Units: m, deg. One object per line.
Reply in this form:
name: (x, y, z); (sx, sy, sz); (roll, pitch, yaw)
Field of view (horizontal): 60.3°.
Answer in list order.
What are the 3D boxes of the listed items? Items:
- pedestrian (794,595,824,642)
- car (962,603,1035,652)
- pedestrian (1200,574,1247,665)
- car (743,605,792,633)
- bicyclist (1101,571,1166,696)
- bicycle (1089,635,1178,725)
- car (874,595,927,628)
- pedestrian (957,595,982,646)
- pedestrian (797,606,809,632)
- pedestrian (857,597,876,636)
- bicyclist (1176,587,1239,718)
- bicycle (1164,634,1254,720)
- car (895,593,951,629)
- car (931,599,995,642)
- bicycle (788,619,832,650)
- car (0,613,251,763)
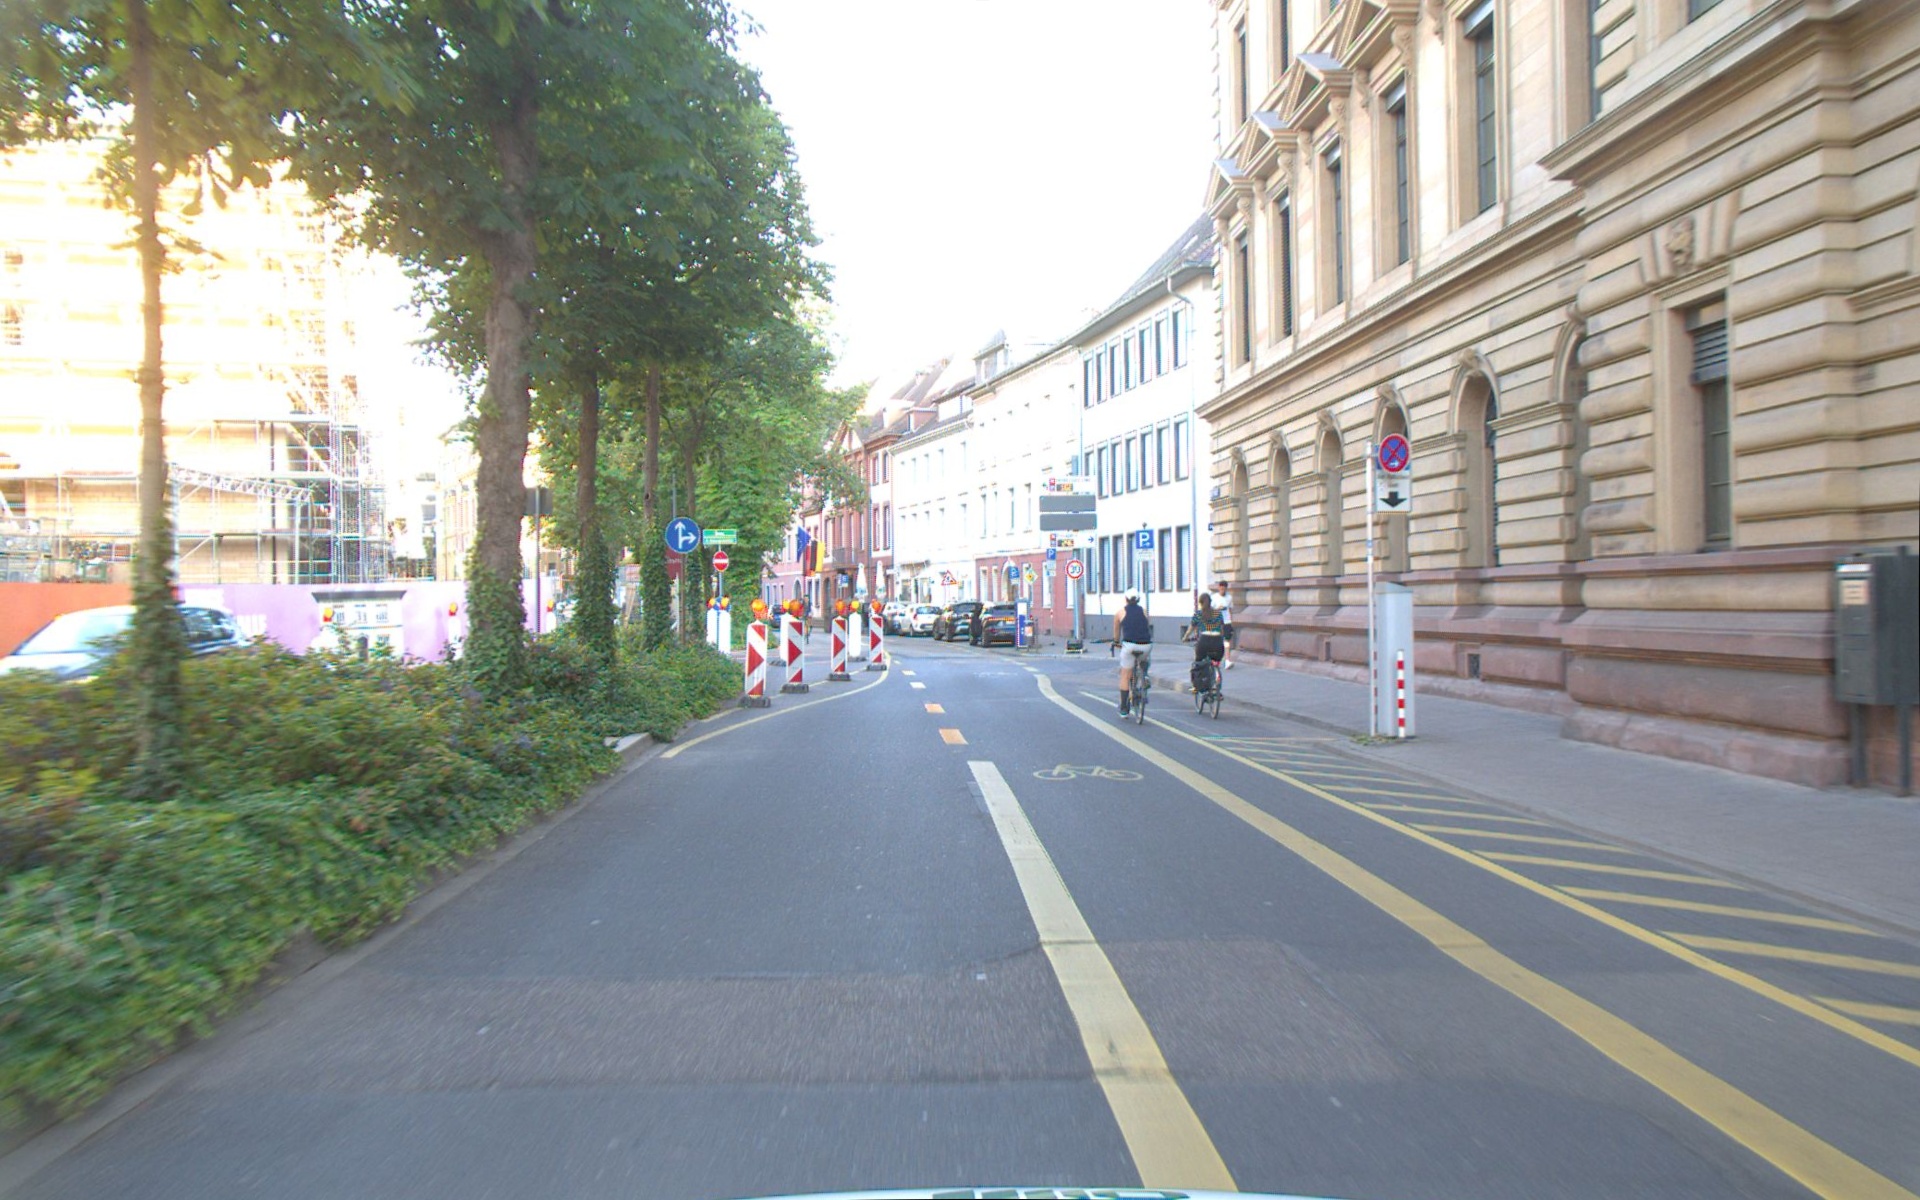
pedestrian: (-5.432, 0.665, 59.536); (0.720, 1.703, 0.895); (-1, 0, 20)
car: (1.378, 0.974, 60.746); (1.781, 1.712, 3.906); (0, 0, -13)
pedestrian: (5.325, 0.384, 33.452); (0.800, 1.796, 1.038); (0, 0, 1)
car: (-11.438, 1.129, 97.986); (1.789, 1.587, 3.835); (0, 0, -25)
bicyclist: (2.275, 0.436, 21.686); (0.656, 1.593, 0.697); (1, -1, -10)
bicycle: (2.253, 1.025, 21.706); (0.657, 1.089, 1.896); (1, 0, -10)
car: (-2.951, 0.548, 81.065); (1.782, 1.587, 3.850); (0, 0, -15)
pedestrian: (0.364, 0.757, 61.282); (0.882, 1.898, 0.932); (0, 0, -2)
pedestrian: (-10.943, 1.297, 115.091); (0.738, 1.793, 0.583); (0, 0, -17)
pedestrian: (-4.562, 0.788, 80.816); (0.813, 1.877, 0.958); (0, 0, 1)
bicyclist: (3.446, 0.718, 23.093); (0.637, 1.791, 0.863); (1, 0, -7)
bicycle: (3.450, 1.052, 23.134); (0.640, 1.089, 2.254); (1, 0, -7)
car: (-1.741, 0.514, 76.577); (1.782, 1.587, 3.850); (0, 0, -15)
car: (0.103, 0.828, 68.717); (1.781, 1.713, 3.986); (0, 0, -13)
bicycle: (-5.398, 1.239, 59.621); (0.745, 1.055, 2.121); (-1, 0, 20)
car: (-10.606, 1.012, 20.379); (1.804, 1.578, 4.175); (-2, 0, 1)
